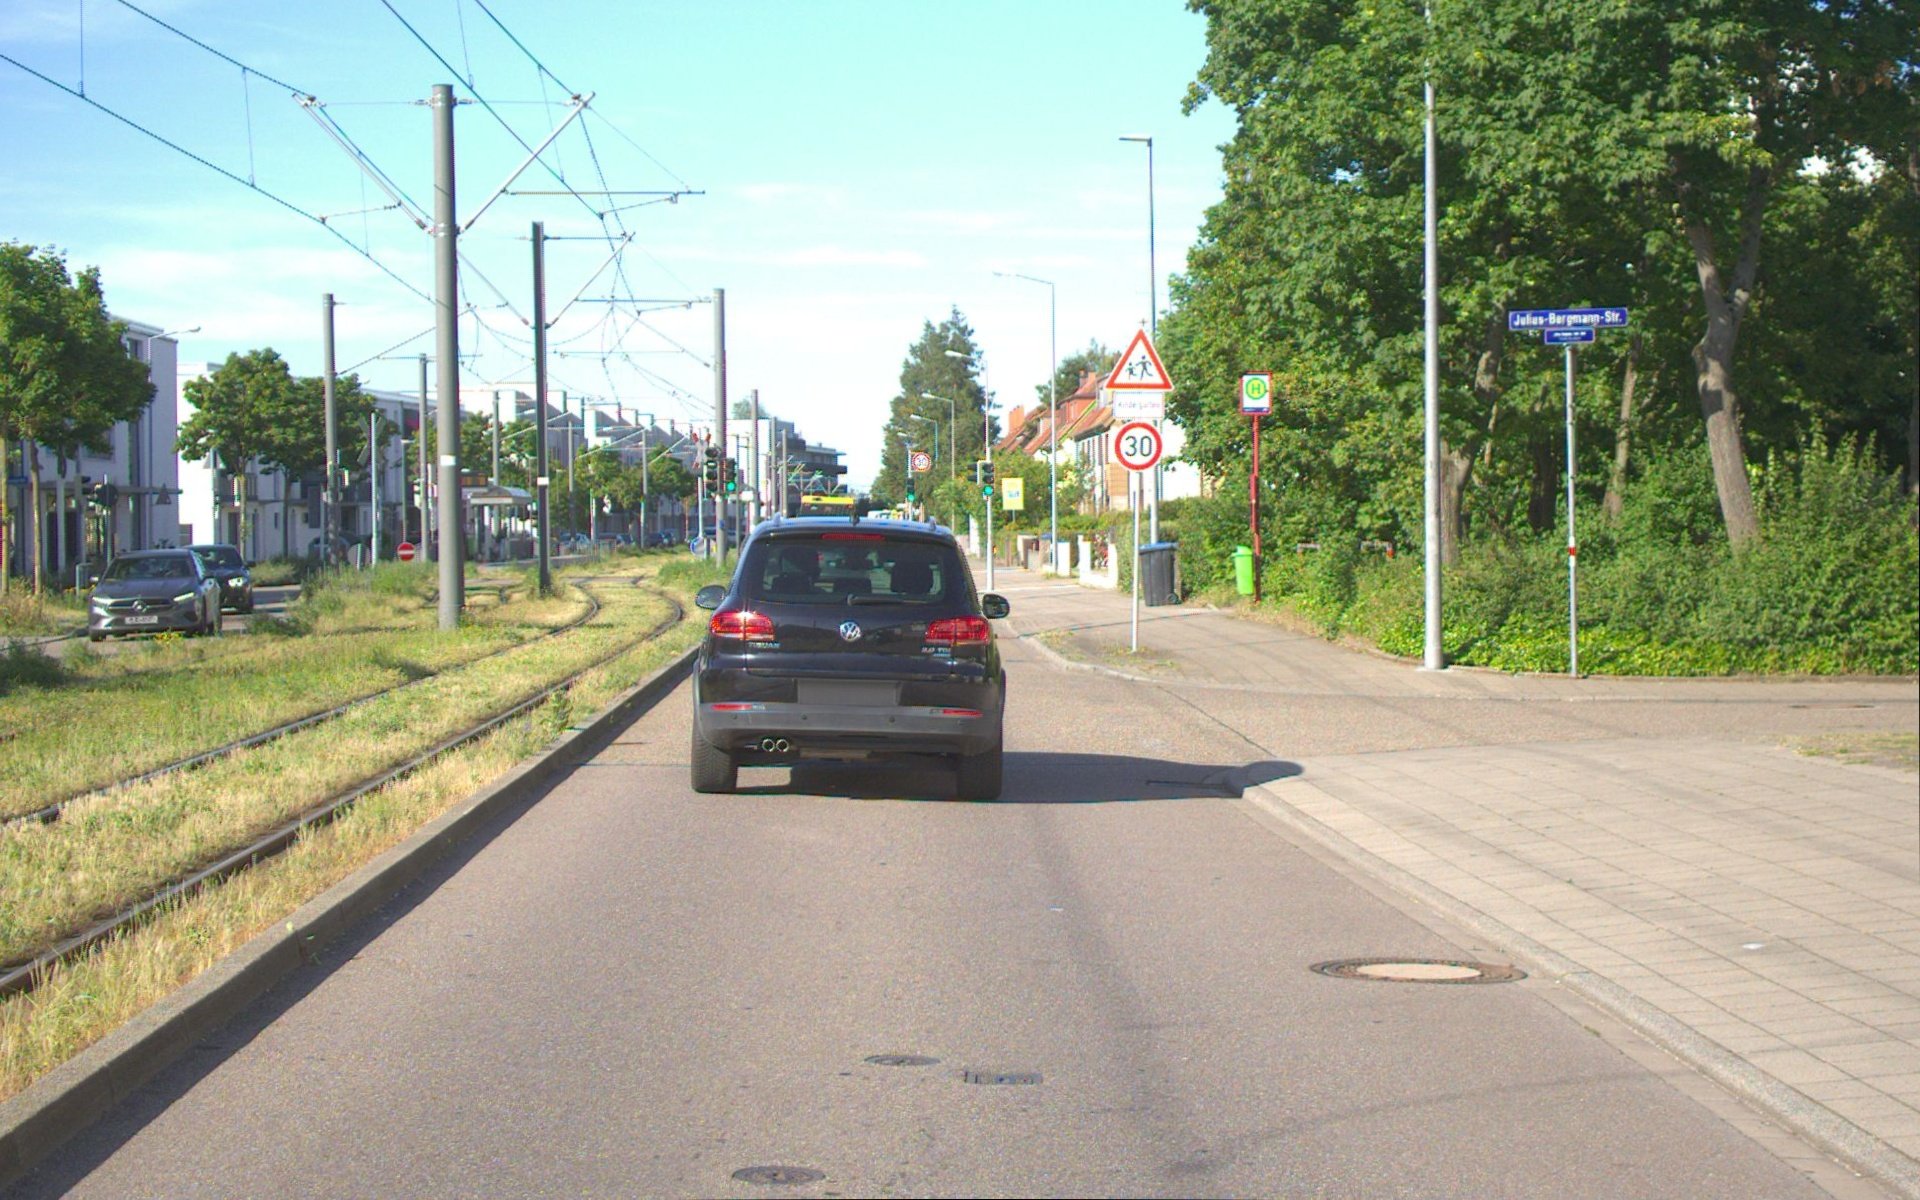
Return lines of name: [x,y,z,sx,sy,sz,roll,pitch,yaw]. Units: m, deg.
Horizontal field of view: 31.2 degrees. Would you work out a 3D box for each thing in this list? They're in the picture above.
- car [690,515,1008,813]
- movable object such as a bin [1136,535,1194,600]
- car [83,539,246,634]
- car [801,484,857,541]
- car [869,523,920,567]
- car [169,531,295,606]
car: [-0.750,0.323,21.413,1.775,1.664,4.001,1,1,-4]
movable object such as a bin: [3.593,-0.579,60.310,0.976,1.107,1.170,-1,2,2]
car: [-12.774,-0.246,55.449,1.688,1.384,4.388,-2,1,-2]
car: [-6.005,-4.029,158.239,2.394,2.556,5.530,-1,1,-1]
car: [-2.549,-2.148,133.650,1.775,1.664,4.001,-1,1,-4]
car: [-15.088,-0.685,71.473,1.762,1.439,4.918,-2,1,-3]
